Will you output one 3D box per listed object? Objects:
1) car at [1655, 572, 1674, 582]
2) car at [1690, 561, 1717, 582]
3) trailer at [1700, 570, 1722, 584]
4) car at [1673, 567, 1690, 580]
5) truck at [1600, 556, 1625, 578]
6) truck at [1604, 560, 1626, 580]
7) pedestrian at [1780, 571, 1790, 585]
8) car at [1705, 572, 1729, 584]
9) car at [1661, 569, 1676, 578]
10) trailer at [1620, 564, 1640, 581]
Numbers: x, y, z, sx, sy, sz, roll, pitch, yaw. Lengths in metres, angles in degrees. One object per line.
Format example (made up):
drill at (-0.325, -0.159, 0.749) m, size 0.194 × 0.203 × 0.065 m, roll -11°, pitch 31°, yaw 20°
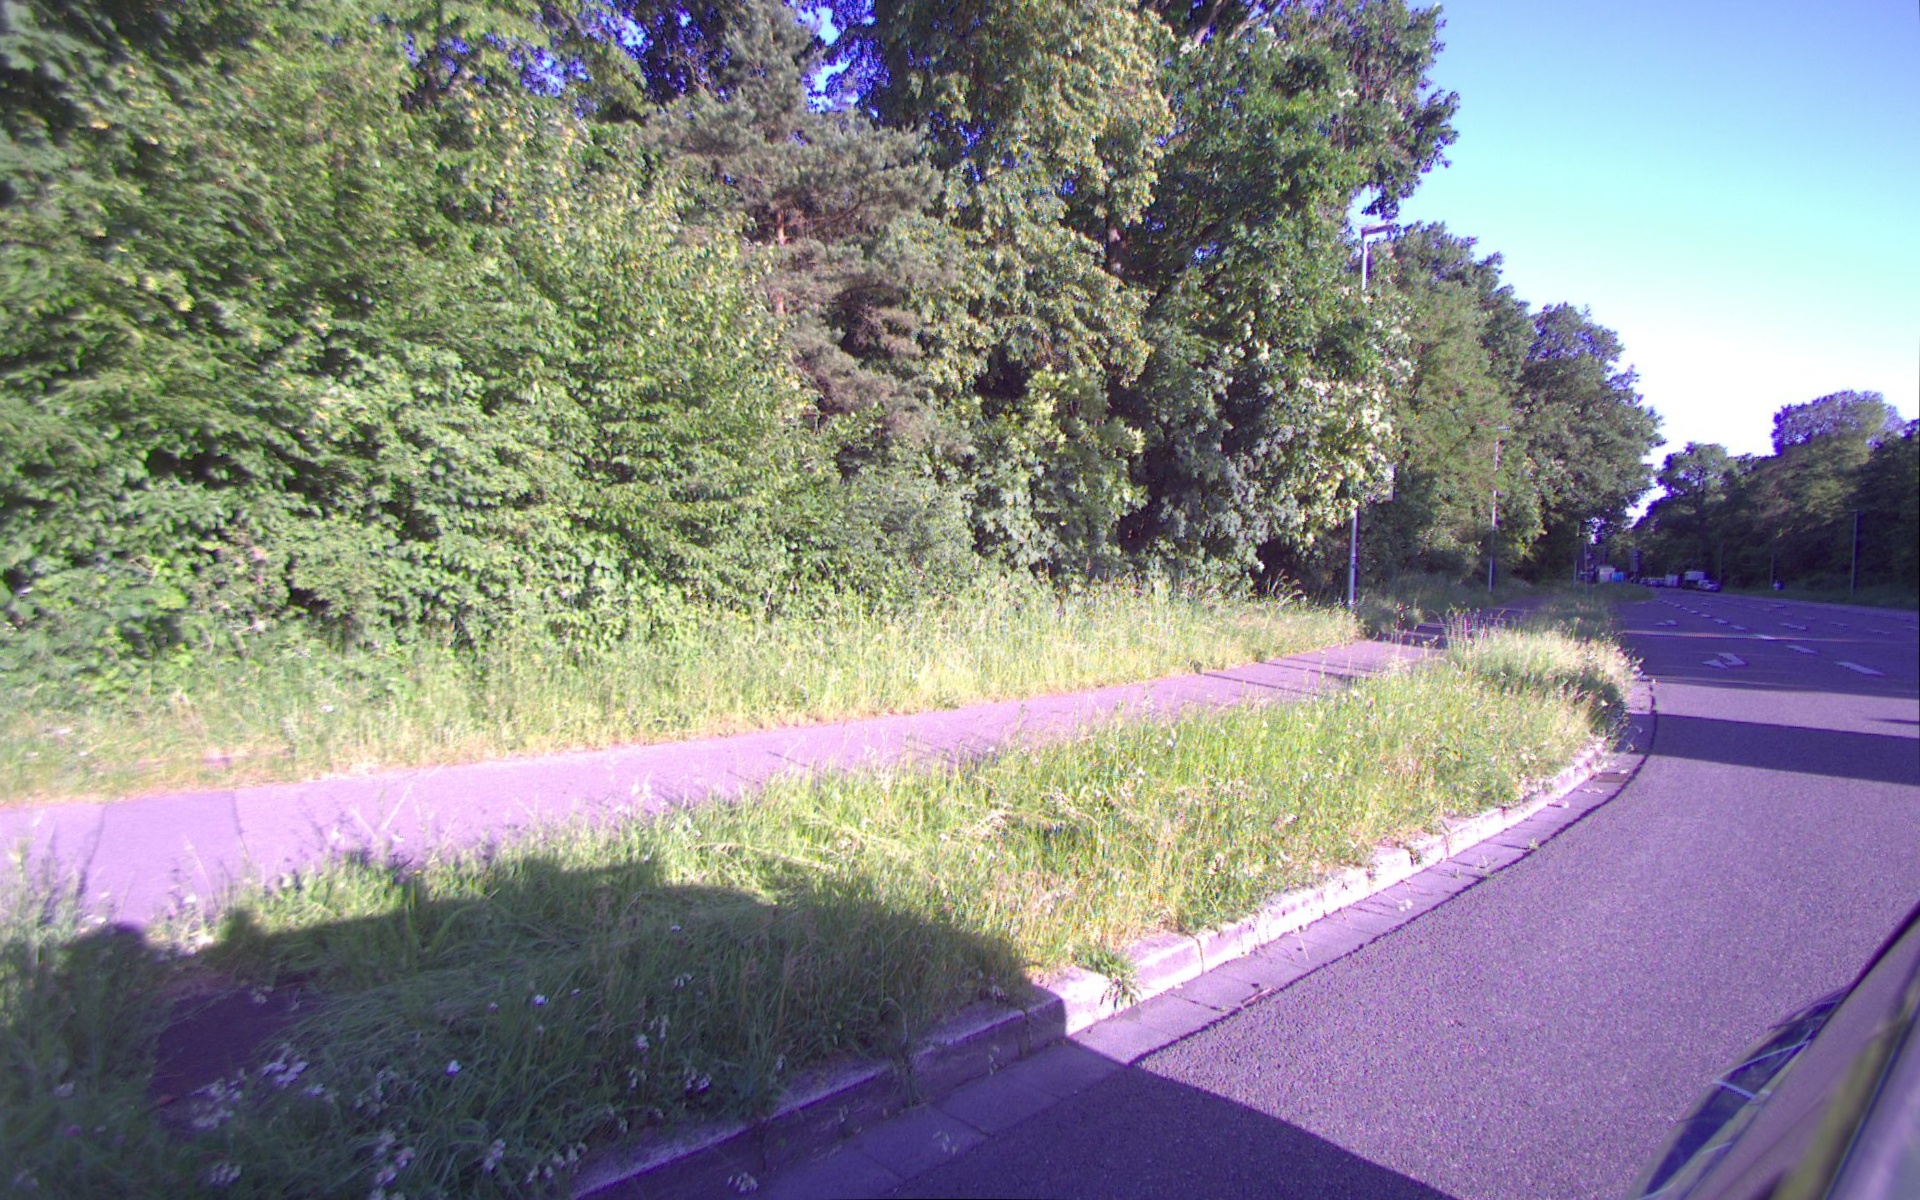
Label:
car at (112.755, -3.674, 162.022) m, size 1.818 × 1.473 × 4.437 m, roll 3°, pitch 3°, yaw 28°
car at (109.038, -4.187, 148.461) m, size 2.441 × 2.881 × 4.751 m, roll 4°, pitch 4°, yaw 29°
trailer at (102.523, -3.198, 138.182) m, size 1.792 × 1.750 × 3.611 m, roll 4°, pitch 4°, yaw 29°
car at (125.130, -4.669, 175.495) m, size 1.678 × 2.126 × 4.586 m, roll 4°, pitch 4°, yaw 29°
truck at (102.278, -5.233, 158.735) m, size 2.685 × 3.276 × 7.057 m, roll 4°, pitch 4°, yaw 29°
truck at (97.470, -4.470, 150.704) m, size 2.370 × 2.907 × 5.543 m, roll 0°, pitch 2°, yaw 29°
pedestrian at (96.092, -2.552, 117.844) m, size 0.709 × 1.584 × 0.816 m, roll 4°, pitch 3°, yaw 33°
car at (100.122, -2.927, 133.838) m, size 1.900 × 1.481 × 3.972 m, roll 4°, pitch 4°, yaw 29°
car at (130.620, -4.835, 186.686) m, size 1.792 × 1.523 × 3.873 m, roll 4°, pitch 4°, yaw 29°
trailer at (89.456, -3.639, 135.130) m, size 1.854 × 2.204 × 4.088 m, roll 1°, pitch 2°, yaw 29°
